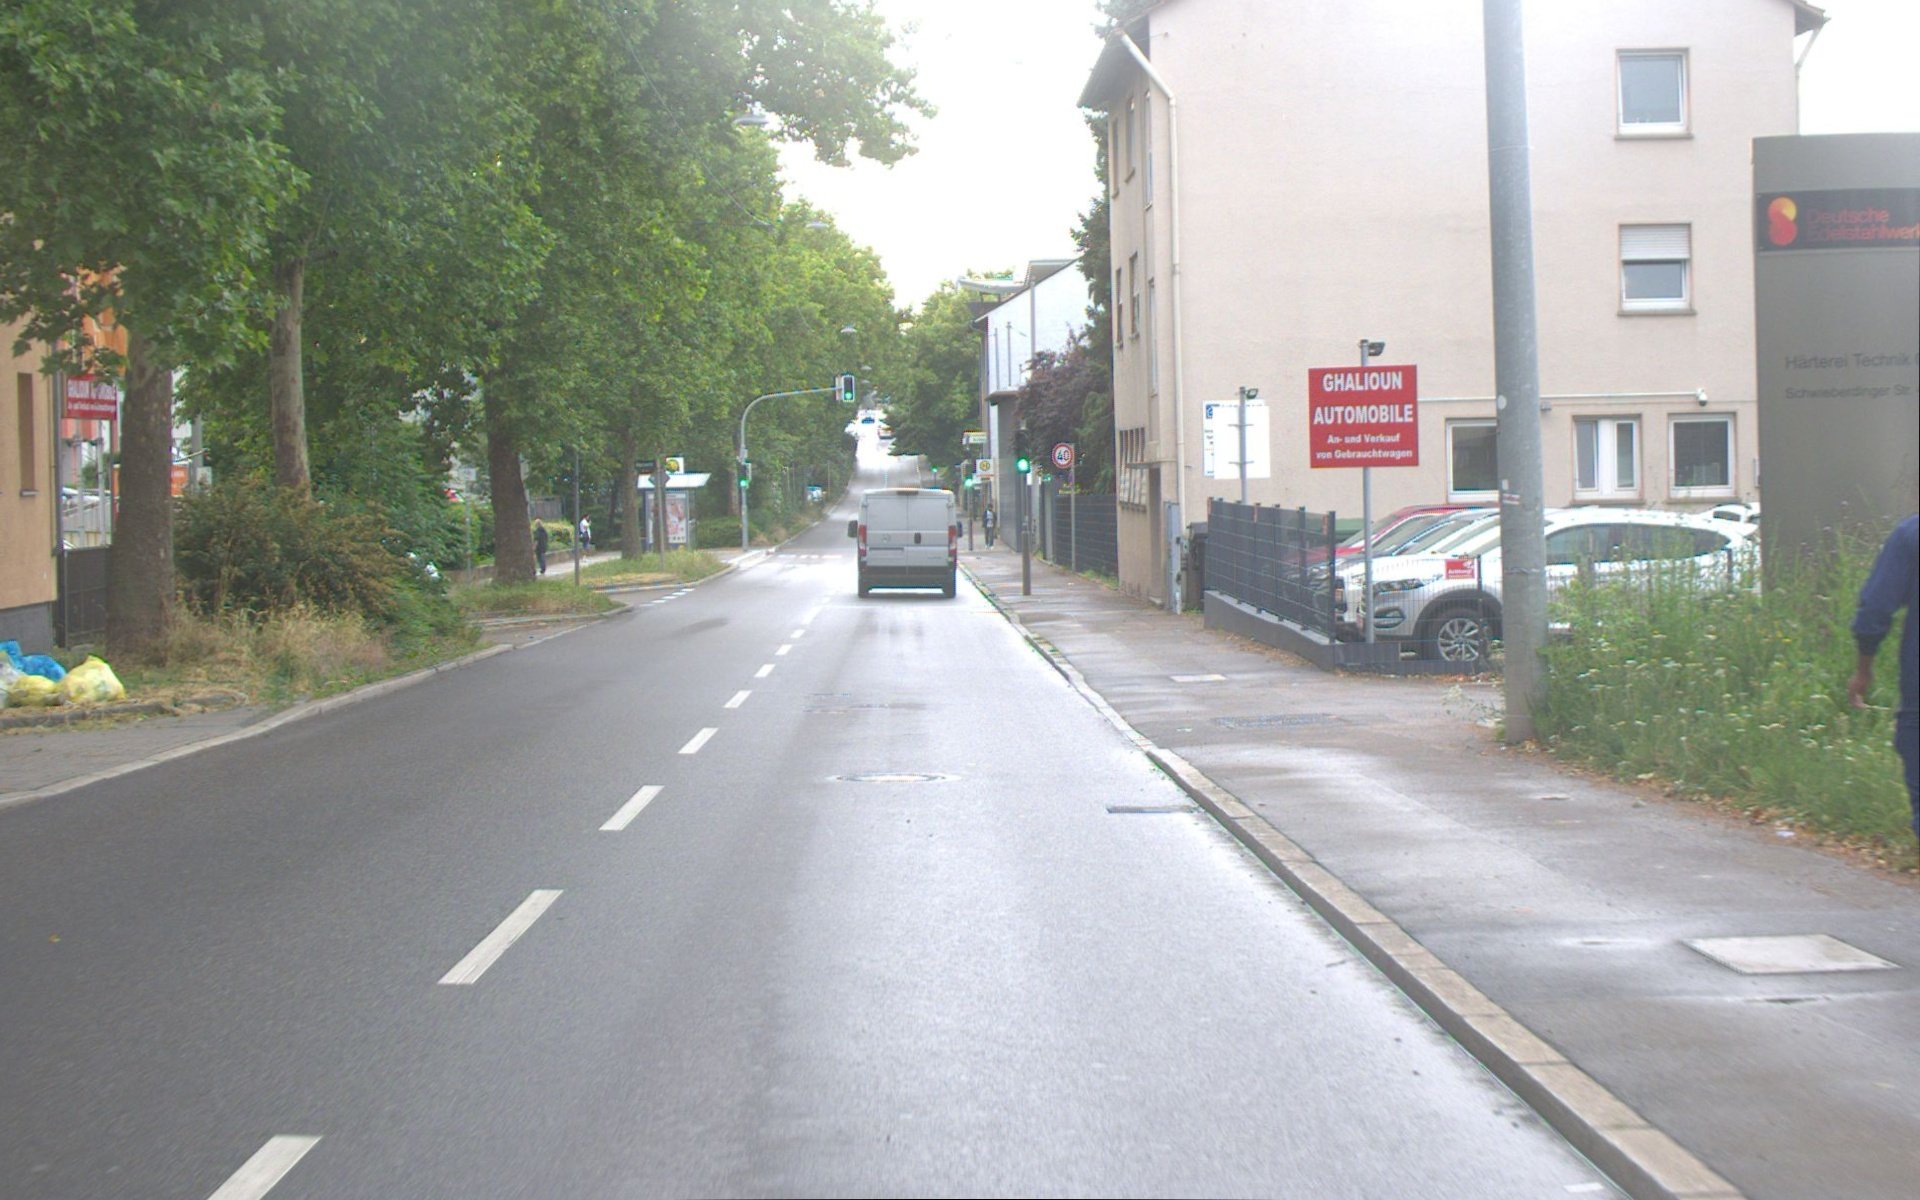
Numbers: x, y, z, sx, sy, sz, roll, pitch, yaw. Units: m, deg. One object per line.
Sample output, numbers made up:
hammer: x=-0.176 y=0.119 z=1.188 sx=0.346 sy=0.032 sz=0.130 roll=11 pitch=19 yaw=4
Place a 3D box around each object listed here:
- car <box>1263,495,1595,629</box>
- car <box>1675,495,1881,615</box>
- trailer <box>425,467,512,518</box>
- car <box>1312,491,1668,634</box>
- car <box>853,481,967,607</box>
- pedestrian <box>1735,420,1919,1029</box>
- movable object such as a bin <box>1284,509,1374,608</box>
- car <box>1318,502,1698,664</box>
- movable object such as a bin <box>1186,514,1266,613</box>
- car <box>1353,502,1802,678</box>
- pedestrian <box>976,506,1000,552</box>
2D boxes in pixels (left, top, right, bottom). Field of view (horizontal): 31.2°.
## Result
car: x=6.351 y=-0.507 z=46.916 sx=4.228 sy=1.730 sz=1.870 roll=1 pitch=0 yaw=-1
car: x=10.953 y=-0.588 z=46.270 sx=1.808 sy=1.525 sz=3.628 roll=1 pitch=0 yaw=-1
trailer: x=-16.482 y=-3.603 z=115.334 sx=2.704 sy=1.639 sz=1.480 roll=1 pitch=1 yaw=0
car: x=6.748 y=-0.471 z=44.038 sx=4.228 sy=1.730 sz=1.870 roll=1 pitch=0 yaw=-1
car: x=-1.033 y=-1.148 z=71.641 sx=2.282 sy=2.544 sz=4.000 roll=0 pitch=0 yaw=-1
pedestrian: x=3.154 y=0.381 z=11.162 sx=1.043 sy=1.891 sz=0.901 roll=-1 pitch=0 yaw=-1
movable object such as a bin: x=5.874 y=-0.652 z=54.788 sx=1.234 sy=1.504 sz=1.111 roll=-3 pitch=0 yaw=-1
car: x=6.120 y=-0.201 z=38.679 sx=3.948 sy=1.718 sz=1.791 roll=1 pitch=1 yaw=-1
movable object such as a bin: x=4.249 y=-0.580 z=54.934 sx=1.110 sy=1.504 sz=0.987 roll=-3 pitch=0 yaw=-1
car: x=6.395 y=-0.108 z=35.963 sx=4.302 sy=1.762 sz=2.000 roll=0 pitch=0 yaw=-1
pedestrian: x=1.047 y=-2.654 z=128.105 sx=0.742 sy=1.698 sz=0.902 roll=1 pitch=0 yaw=-6
